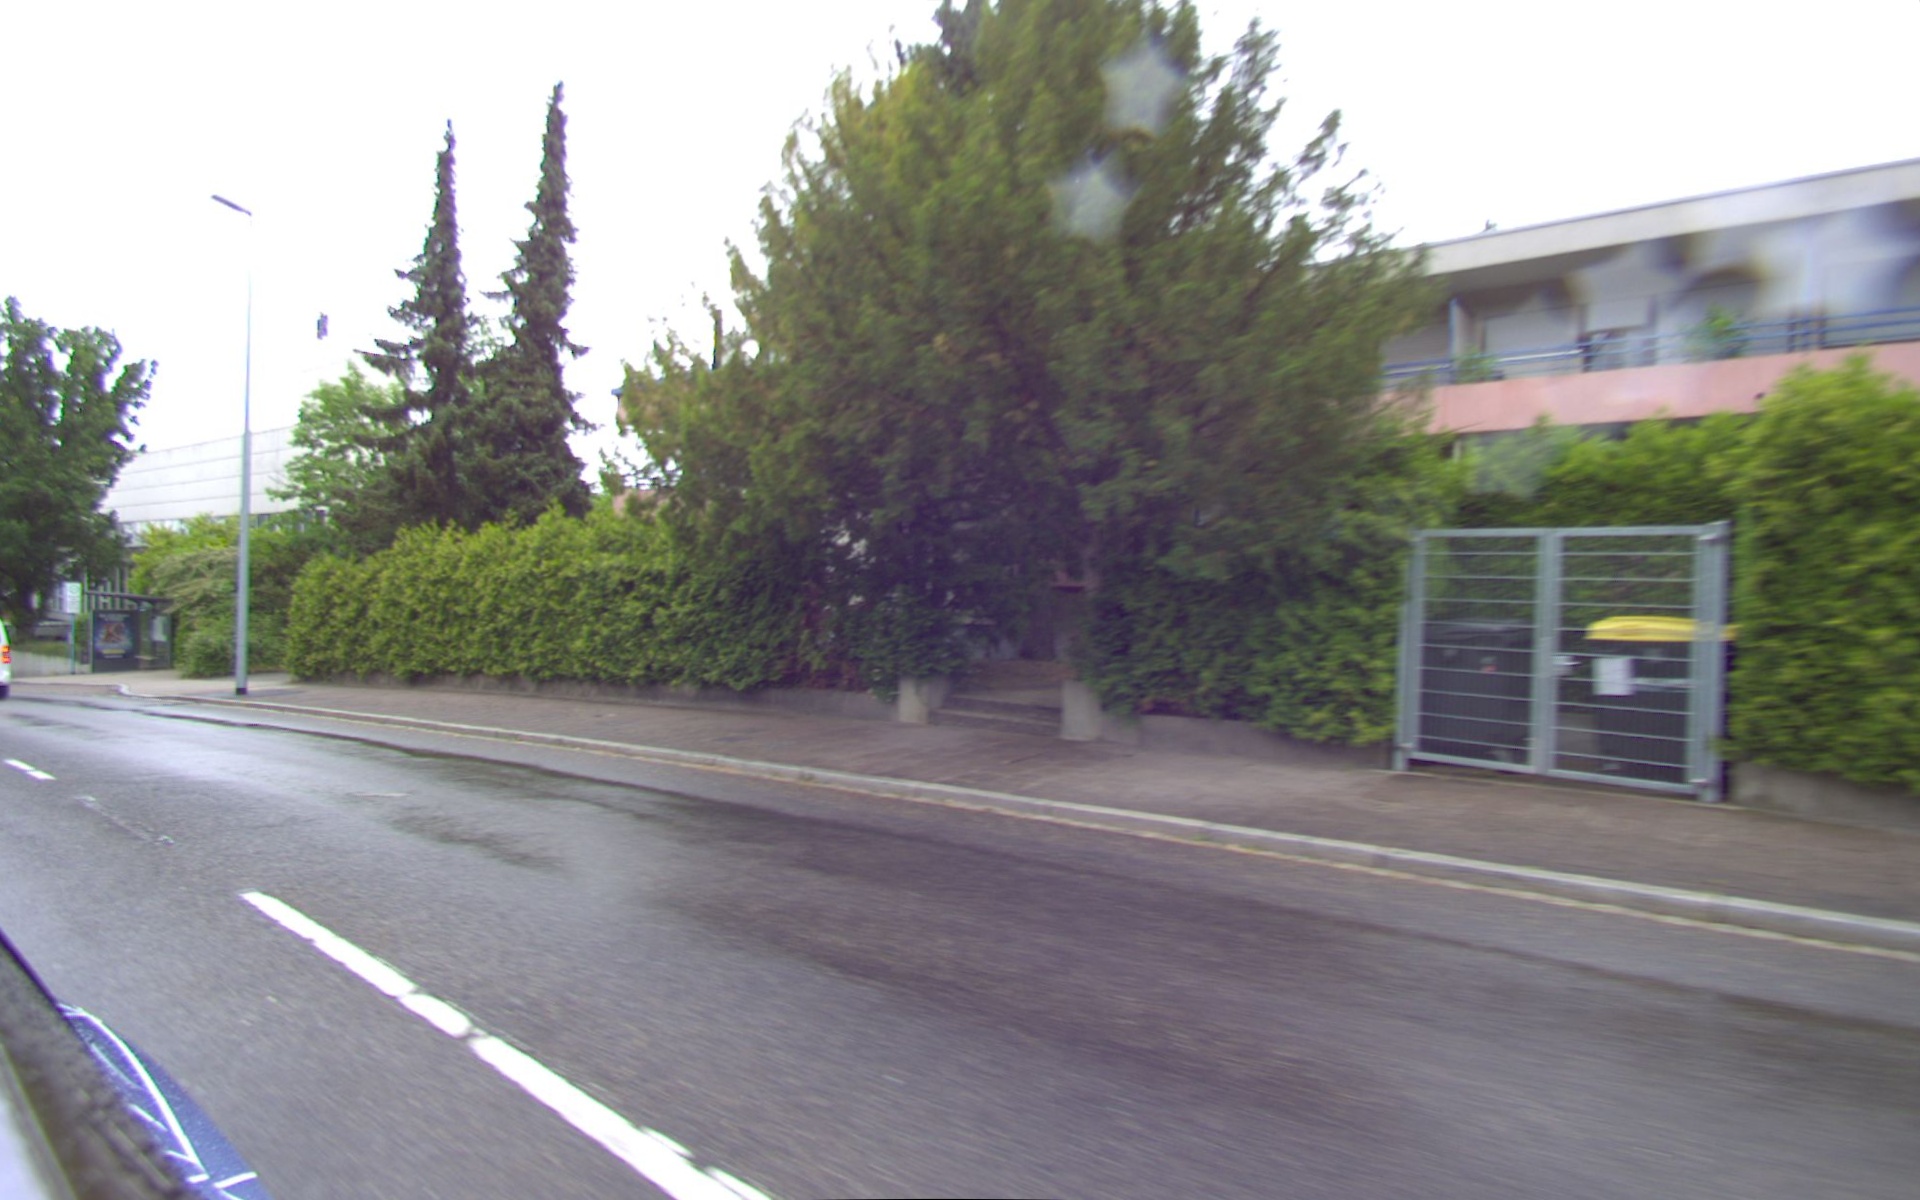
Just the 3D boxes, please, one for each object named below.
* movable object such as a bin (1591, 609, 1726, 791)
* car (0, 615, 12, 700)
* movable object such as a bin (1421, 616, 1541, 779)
[{"bbox_3d":[5.492,0.750,7.963,0.805,1.336,0.542,-2,-1,40],"label":"movable object such as a bin"},{"bbox_3d":[-24.267,1.337,23.907,5.020,1.931,1.846,-2,-4,37],"label":"car"},{"bbox_3d":[4.556,0.820,8.854,0.805,1.336,0.542,-2,-1,40],"label":"movable object such as a bin"}]
